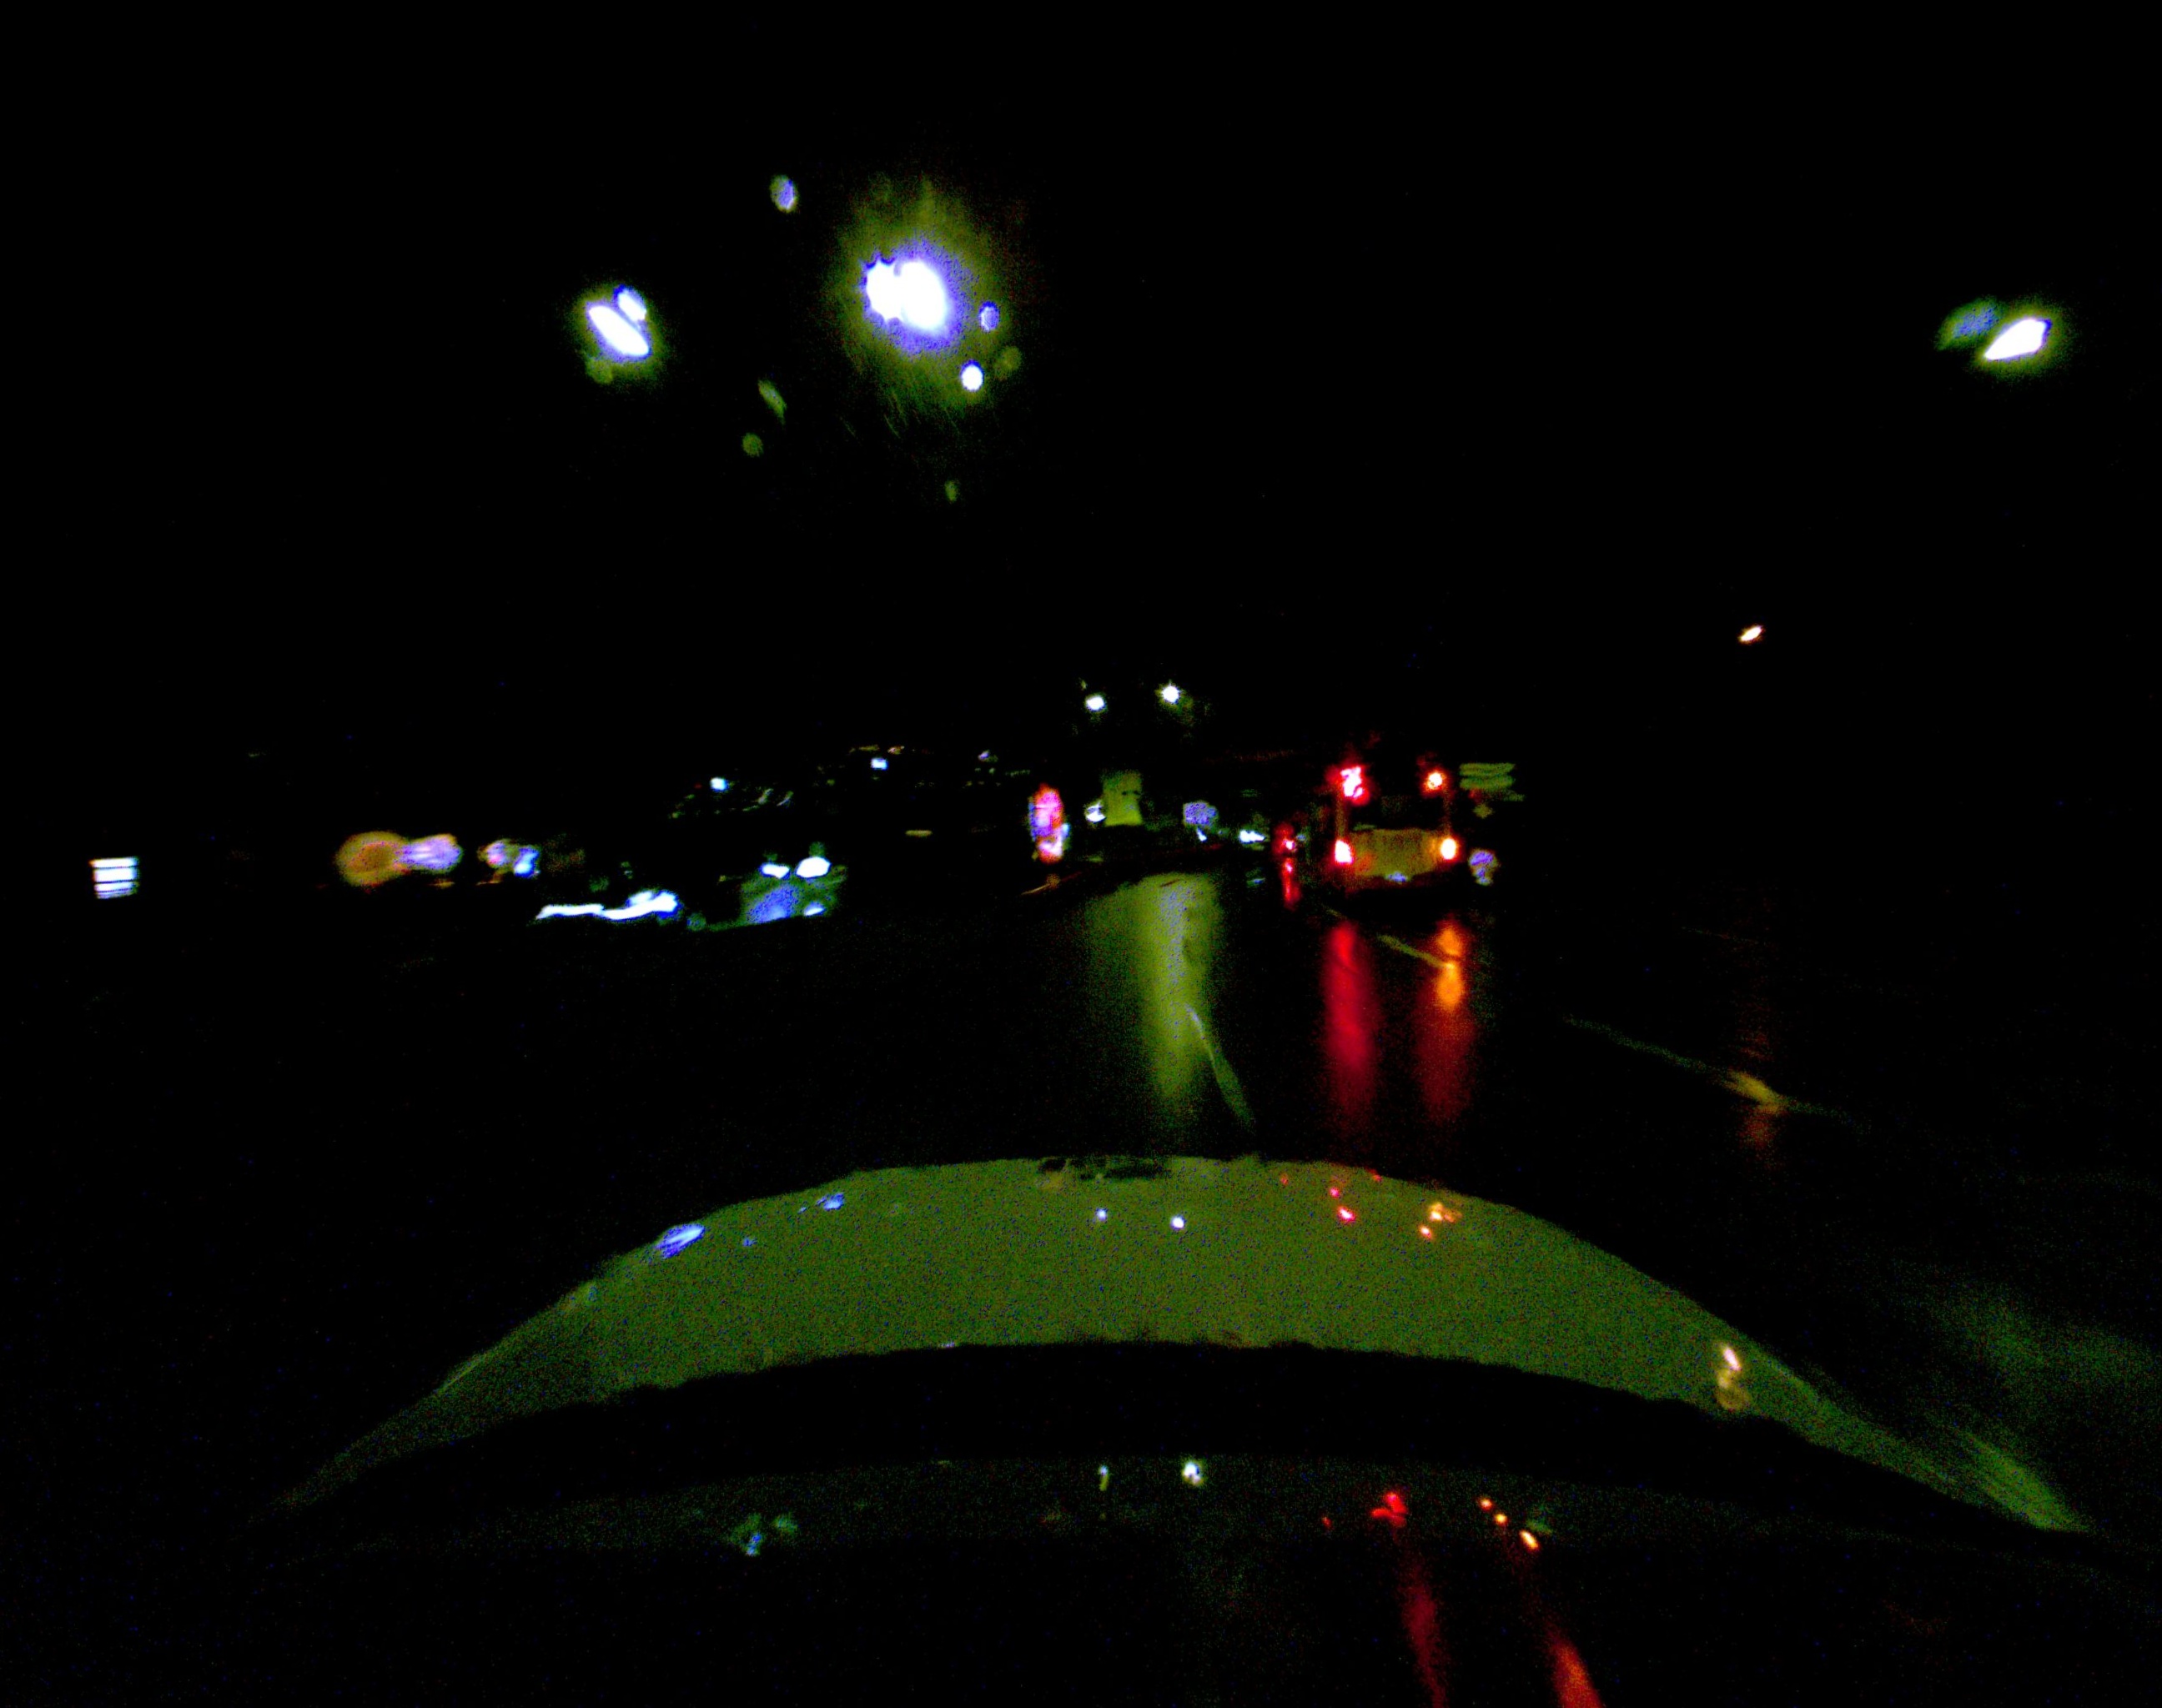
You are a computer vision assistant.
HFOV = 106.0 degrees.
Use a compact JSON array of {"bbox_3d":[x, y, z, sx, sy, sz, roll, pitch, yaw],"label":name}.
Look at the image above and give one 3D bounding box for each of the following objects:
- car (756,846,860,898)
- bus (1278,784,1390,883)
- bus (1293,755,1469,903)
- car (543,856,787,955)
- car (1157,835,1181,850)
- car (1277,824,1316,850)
[{"bbox_3d":[-9.759,0.600,29.450,1.984,1.594,4.007,-3,1,6],"label":"car"},{"bbox_3d":[9.396,-0.718,31.309,3.024,3.212,9.077,-1,1,10],"label":"bus"},{"bbox_3d":[7.739,-0.595,22.391,3.024,3.212,9.077,-1,1,10],"label":"bus"},{"bbox_3d":[-7.967,0.896,16.242,1.855,1.463,4.651,-5,0,8],"label":"car"},{"bbox_3d":[9.113,-1.225,84.128,1.554,1.426,3.972,-2,1,19],"label":"car"},{"bbox_3d":[15.247,-1.201,57.415,1.771,1.683,4.025,-2,2,28],"label":"car"}]
